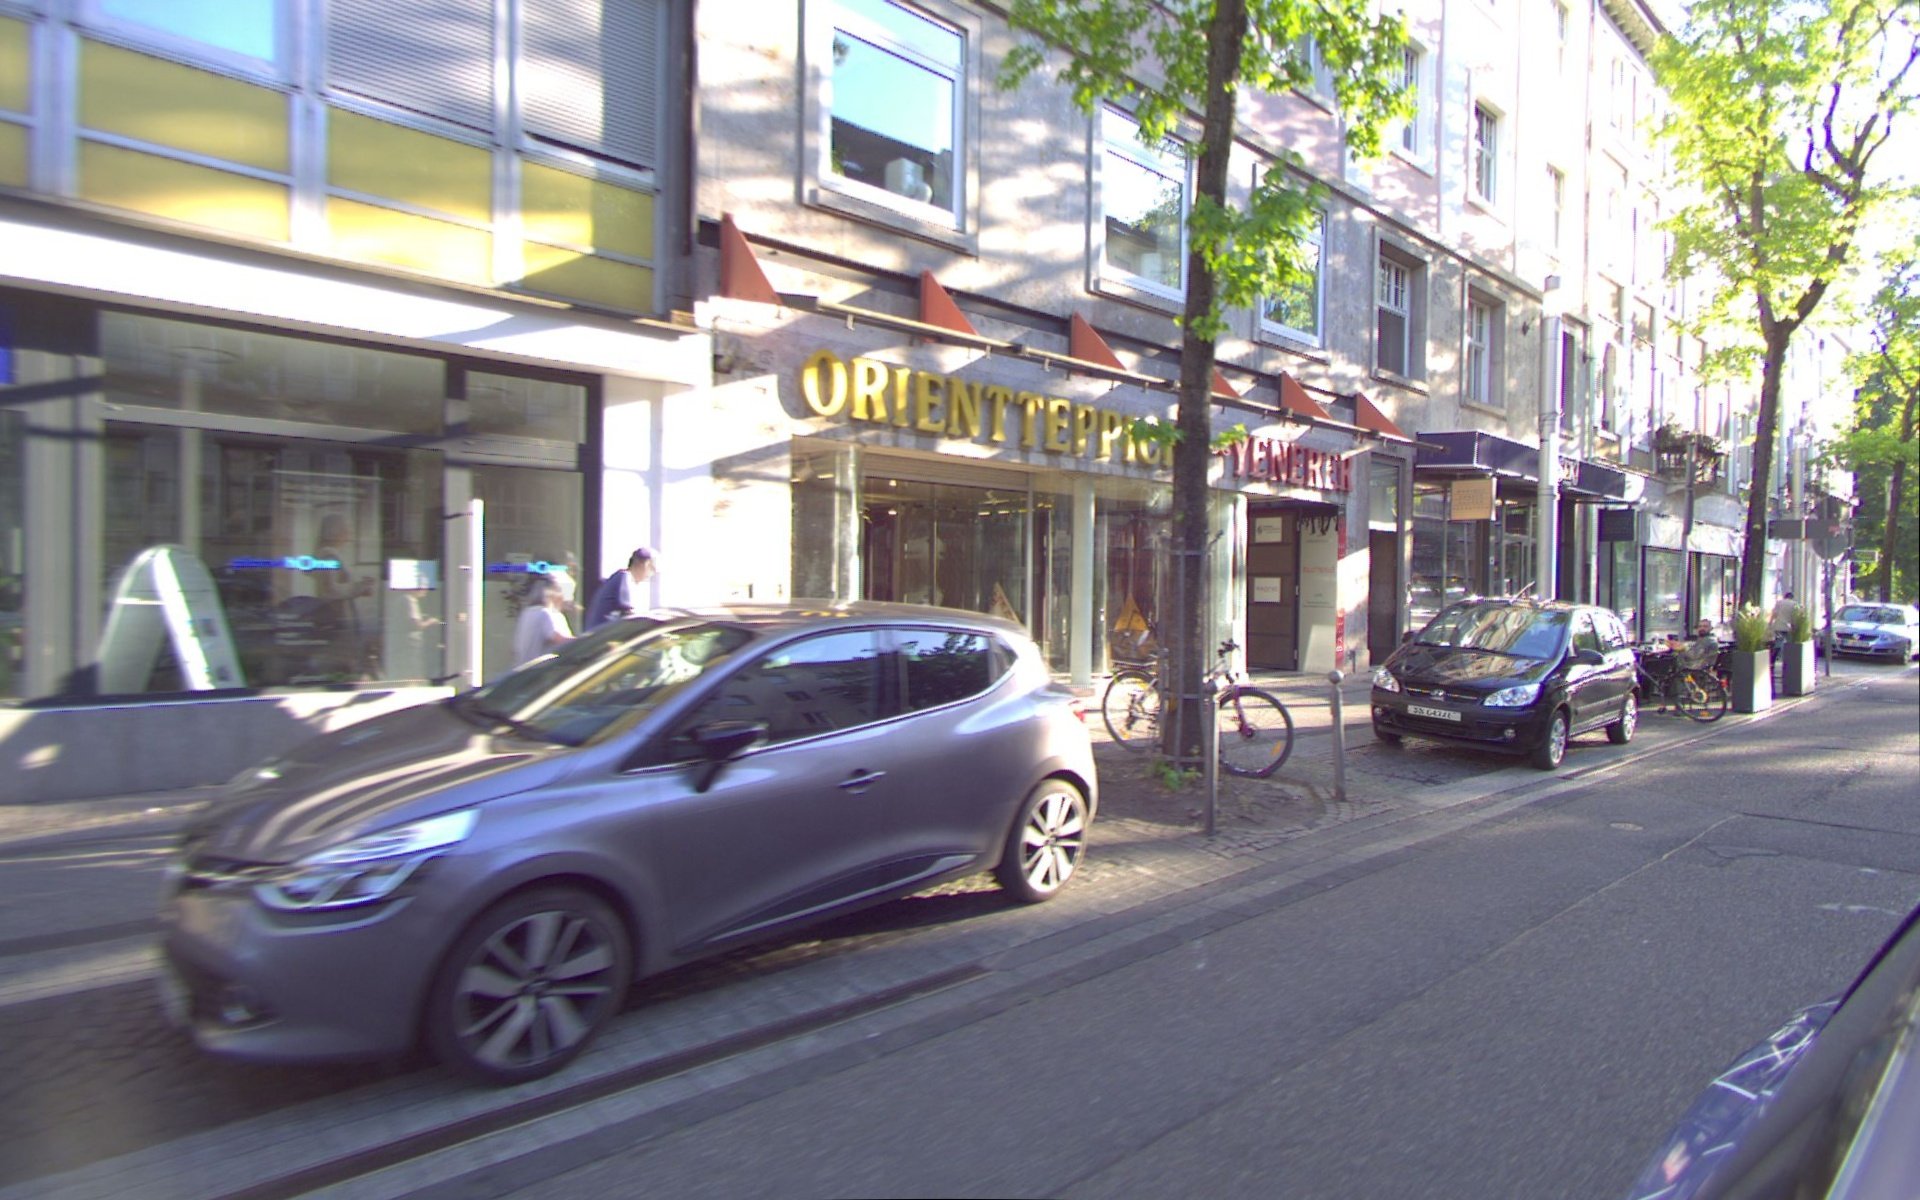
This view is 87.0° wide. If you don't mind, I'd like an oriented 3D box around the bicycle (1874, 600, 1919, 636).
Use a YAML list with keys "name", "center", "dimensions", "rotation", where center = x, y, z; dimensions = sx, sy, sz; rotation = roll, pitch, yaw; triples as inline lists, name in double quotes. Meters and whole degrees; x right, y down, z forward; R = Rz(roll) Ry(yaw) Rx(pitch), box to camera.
- name: "bicycle"
  center: [31.943, 0.607, 33.939]
  dimensions: [0.552, 1.169, 1.871]
  rotation: [-1, 1, -38]

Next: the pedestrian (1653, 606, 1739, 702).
- name: "pedestrian"
  center: [10.332, 0.735, 14.220]
  dimensions: [0.575, 1.281, 0.820]
  rotation: [0, 1, -35]

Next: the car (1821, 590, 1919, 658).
- name: "car"
  center: [23.938, 0.554, 26.197]
  dimensions: [4.345, 1.457, 1.780]
  rotation: [-1, 5, -40]

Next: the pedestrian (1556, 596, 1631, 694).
- name: "pedestrian"
  center: [9.404, 0.646, 15.048]
  dimensions: [0.698, 1.404, 0.745]
  rotation: [1, 1, 12]

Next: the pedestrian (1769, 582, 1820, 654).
- name: "pedestrian"
  center: [20.078, 0.422, 24.352]
  dimensions: [0.742, 1.663, 0.805]
  rotation: [0, 2, -40]

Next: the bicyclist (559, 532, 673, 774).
- name: "bicyclist"
  center: [-2.576, 0.361, 7.570]
  dimensions: [0.589, 1.705, 0.640]
  rotation: [0, 1, -42]

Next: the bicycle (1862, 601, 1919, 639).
- name: "bicycle"
  center: [30.461, 0.651, 32.726]
  dimensions: [0.552, 1.169, 1.871]
  rotation: [-1, 1, -38]

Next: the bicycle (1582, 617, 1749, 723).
- name: "bicycle"
  center: [9.054, 0.856, 13.076]
  dimensions: [0.535, 1.152, 1.736]
  rotation: [0, 3, -20]

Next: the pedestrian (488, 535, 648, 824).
- name: "pedestrian"
  center: [-2.467, 0.449, 6.354]
  dimensions: [0.688, 1.666, 0.798]
  rotation: [0, 1, -42]

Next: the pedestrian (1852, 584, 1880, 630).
- name: "pedestrian"
  center: [40.856, 0.288, 45.646]
  dimensions: [0.841, 2.039, 0.833]
  rotation: [0, 1, 36]

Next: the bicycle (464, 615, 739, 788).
- name: "bicycle"
  center: [-2.629, 0.685, 7.558]
  dimensions: [1.830, 1.087, 0.648]
  rotation: [0, 2, -43]

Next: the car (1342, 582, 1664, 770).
- name: "car"
  center: [5.631, 0.603, 10.339]
  dimensions: [3.593, 1.476, 1.803]
  rotation: [-1, 4, -43]

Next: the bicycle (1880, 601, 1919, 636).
- name: "bicycle"
  center: [32.419, 0.632, 34.239]
  dimensions: [0.341, 1.169, 1.871]
  rotation: [0, 1, -38]

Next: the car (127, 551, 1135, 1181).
- name: "car"
  center: [-1.120, 0.622, 4.582]
  dimensions: [1.816, 1.503, 3.937]
  rotation: [6, 5, 44]

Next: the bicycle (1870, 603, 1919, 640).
- name: "bicycle"
  center: [30.993, 0.691, 33.027]
  dimensions: [0.552, 1.169, 1.871]
  rotation: [-1, 1, -38]

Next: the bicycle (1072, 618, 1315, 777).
- name: "bicycle"
  center: [1.901, 0.746, 8.425]
  dimensions: [1.853, 1.087, 0.702]
  rotation: [2, 2, 41]
